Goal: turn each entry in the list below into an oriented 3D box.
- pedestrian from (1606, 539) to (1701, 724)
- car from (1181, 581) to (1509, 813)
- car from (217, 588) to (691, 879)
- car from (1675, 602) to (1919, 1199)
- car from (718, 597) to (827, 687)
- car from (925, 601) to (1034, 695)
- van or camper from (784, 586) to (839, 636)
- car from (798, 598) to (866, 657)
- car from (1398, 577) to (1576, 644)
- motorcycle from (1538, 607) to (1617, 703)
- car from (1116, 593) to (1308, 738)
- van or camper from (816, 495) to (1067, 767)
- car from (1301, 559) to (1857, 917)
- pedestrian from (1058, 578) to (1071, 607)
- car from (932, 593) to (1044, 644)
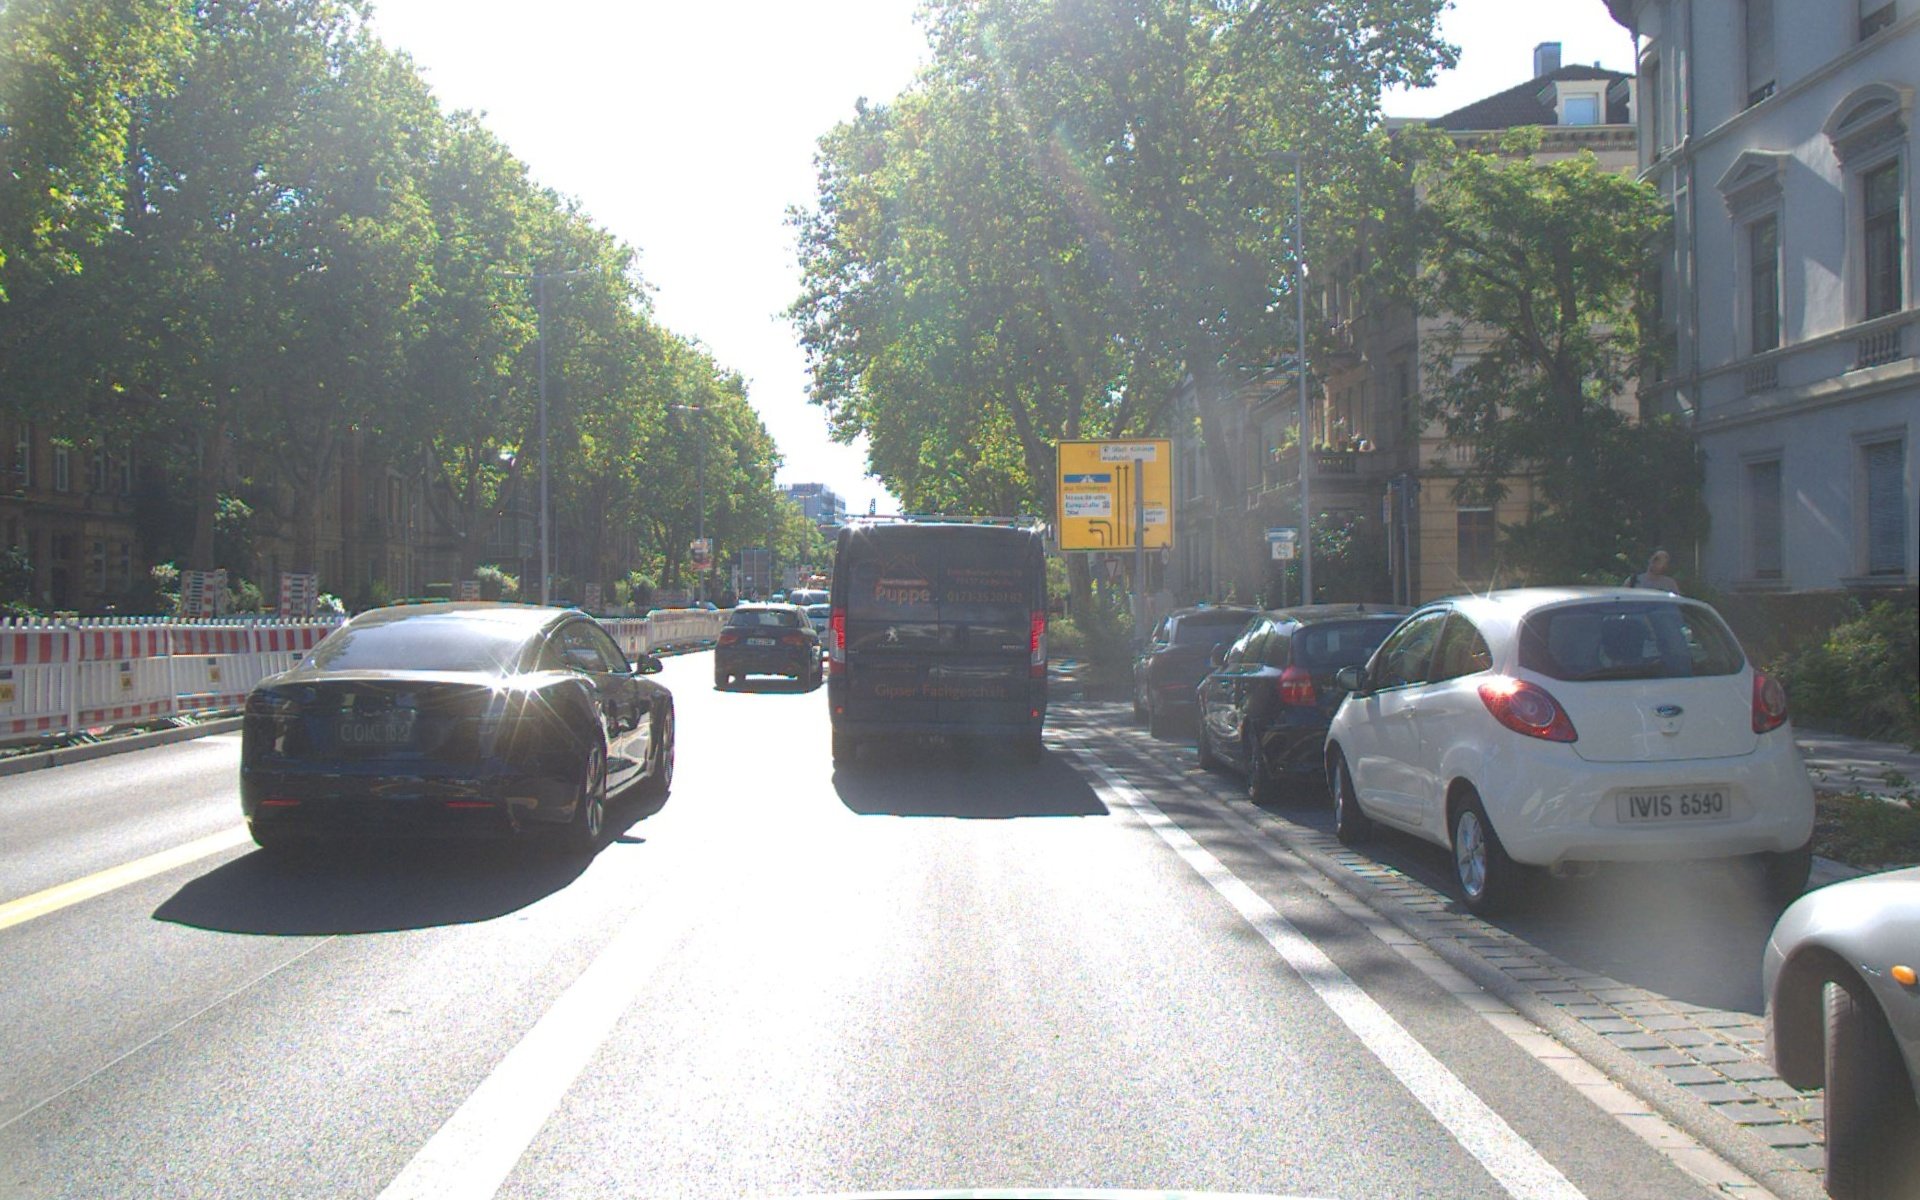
[{"bbox_3d":[7.247,0.323,17.300,0.651,1.881,0.694,-1,0,-1],"label":"pedestrian"},{"bbox_3d":[2.905,0.663,13.330,1.587,1.512,4.056,-2,0,-1],"label":"car"},{"bbox_3d":[-2.998,0.697,10.864,1.800,1.509,4.475,0,0,-1],"label":"car"},{"bbox_3d":[2.950,0.716,2.738,1.681,1.437,4.047,-2,0,-1],"label":"car"},{"bbox_3d":[-3.322,0.716,29.816,1.587,1.512,3.733,0,0,-1],"label":"car"},{"bbox_3d":[0.350,0.804,29.627,1.796,1.512,4.057,-1,0,1],"label":"car"},{"bbox_3d":[-6.578,0.479,73.605,1.953,2.049,5.327,-2,0,-1],"label":"van or camper"},{"bbox_3d":[-3.404,0.700,44.423,1.587,1.512,3.733,0,0,-1],"label":"car"},{"bbox_3d":[13.076,0.252,41.223,3.848,1.588,1.873,0,2,0],"label":"car"},{"bbox_3d":[8.026,0.694,21.548,0.584,1.207,1.556,-1,0,6],"label":"motorcycle"},{"bbox_3d":[2.928,0.710,19.990,1.587,1.512,4.096,-2,0,-1],"label":"car"},{"bbox_3d":[-0.245,0.278,16.816,2.200,2.387,4.535,0,0,-2],"label":"van or camper"},{"bbox_3d":[3.128,0.610,9.186,1.587,1.512,3.733,-2,0,-1],"label":"car"},{"bbox_3d":[8.575,-0.620,135.589,1.036,2.387,0.816,1,-1,2],"label":"pedestrian"},{"bbox_3d":[0.996,0.657,59.939,3.906,1.596,1.778,3,-1,-1],"label":"car"}]
